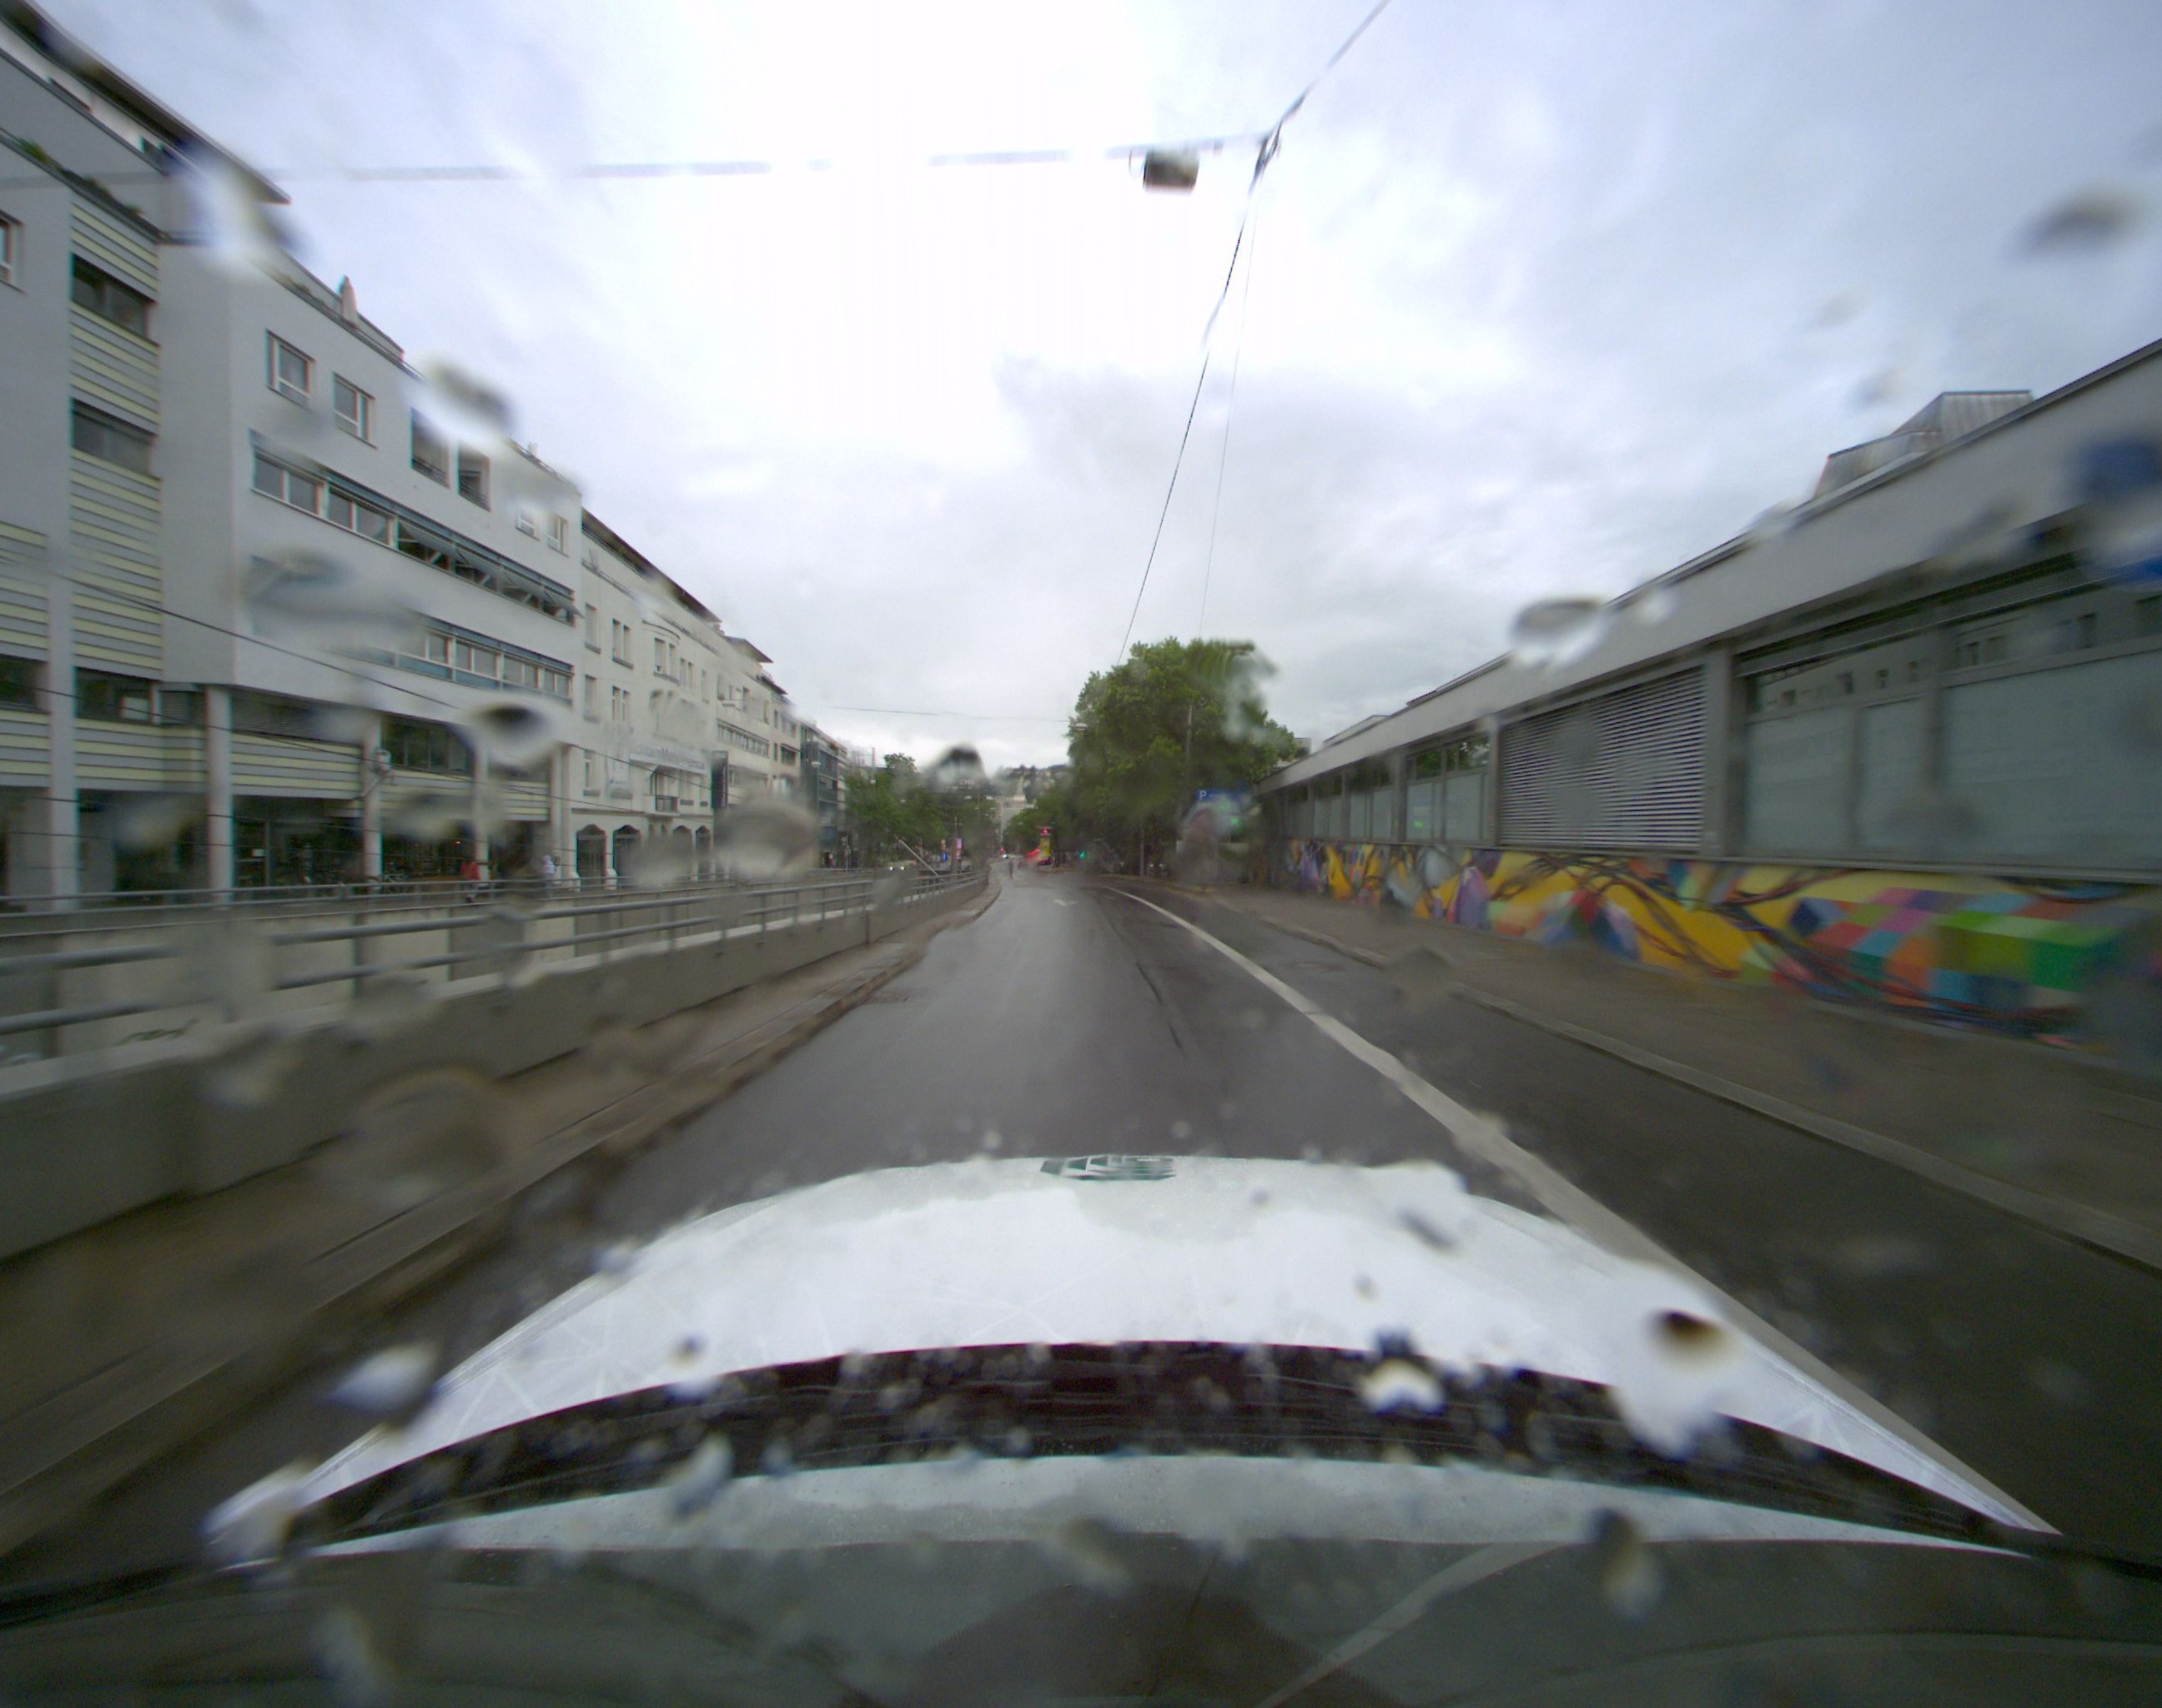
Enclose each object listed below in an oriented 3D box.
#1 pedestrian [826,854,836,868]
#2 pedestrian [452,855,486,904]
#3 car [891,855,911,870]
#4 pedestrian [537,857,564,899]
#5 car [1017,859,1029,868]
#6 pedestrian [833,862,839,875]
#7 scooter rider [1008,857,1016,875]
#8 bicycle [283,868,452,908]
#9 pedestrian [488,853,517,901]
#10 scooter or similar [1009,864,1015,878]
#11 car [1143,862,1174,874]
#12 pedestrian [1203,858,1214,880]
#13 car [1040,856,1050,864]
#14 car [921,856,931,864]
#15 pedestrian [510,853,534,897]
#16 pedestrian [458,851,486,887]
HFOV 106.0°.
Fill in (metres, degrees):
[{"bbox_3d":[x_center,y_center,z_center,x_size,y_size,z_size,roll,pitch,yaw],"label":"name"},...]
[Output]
[{"bbox_3d":[-33.426,0.922,109.027,0.858,1.868,0.963,1,-1,12],"label":"pedestrian"},{"bbox_3d":[-20.726,0.850,27.585,0.674,1.616,0.935,1,0,-22],"label":"pedestrian"},{"bbox_3d":[-22.598,1.054,102.207,1.834,1.712,4.569,1,1,-5],"label":"car"},{"bbox_3d":[-21.016,0.939,32.288,0.785,1.643,0.678,0,0,40],"label":"pedestrian"},{"bbox_3d":[-9.840,1.623,137.728,1.744,1.519,4.096,1,-1,-7],"label":"car"},{"bbox_3d":[-31.737,1.900,105.633,0.664,1.671,0.486,0,-1,-8],"label":"pedestrian"},{"bbox_3d":[-7.642,1.339,89.946,0.808,1.948,0.820,1,-1,-9],"label":"scooter rider"},{"bbox_3d":[-23.145,1.056,26.698,1.689,1.043,4.518,0,1,-2],"label":"bicycle"},{"bbox_3d":[-22.084,0.856,31.096,0.674,1.785,0.935,1,0,-22],"label":"pedestrian"},{"bbox_3d":[-7.633,1.876,89.943,0.545,1.418,1.949,1,-1,-8],"label":"scooter or similar"},{"bbox_3d":[11.291,2.104,119.095,4.372,1.684,1.734,1,-1,-32],"label":"car"},{"bbox_3d":[11.159,1.313,71.096,0.804,1.864,1.056,-1,-1,2],"label":"pedestrian"},{"bbox_3d":[-7.574,1.312,171.674,1.897,1.684,3.906,1,-1,-3],"label":"car"},{"bbox_3d":[-32.032,1.198,168.263,1.779,1.555,3.884,1,1,-8],"label":"car"},{"bbox_3d":[-22.361,0.822,32.587,0.602,1.722,0.677,0,-1,43],"label":"pedestrian"},{"bbox_3d":[-24.440,0.583,32.670,0.606,1.419,0.673,1,0,-2],"label":"pedestrian"}]
